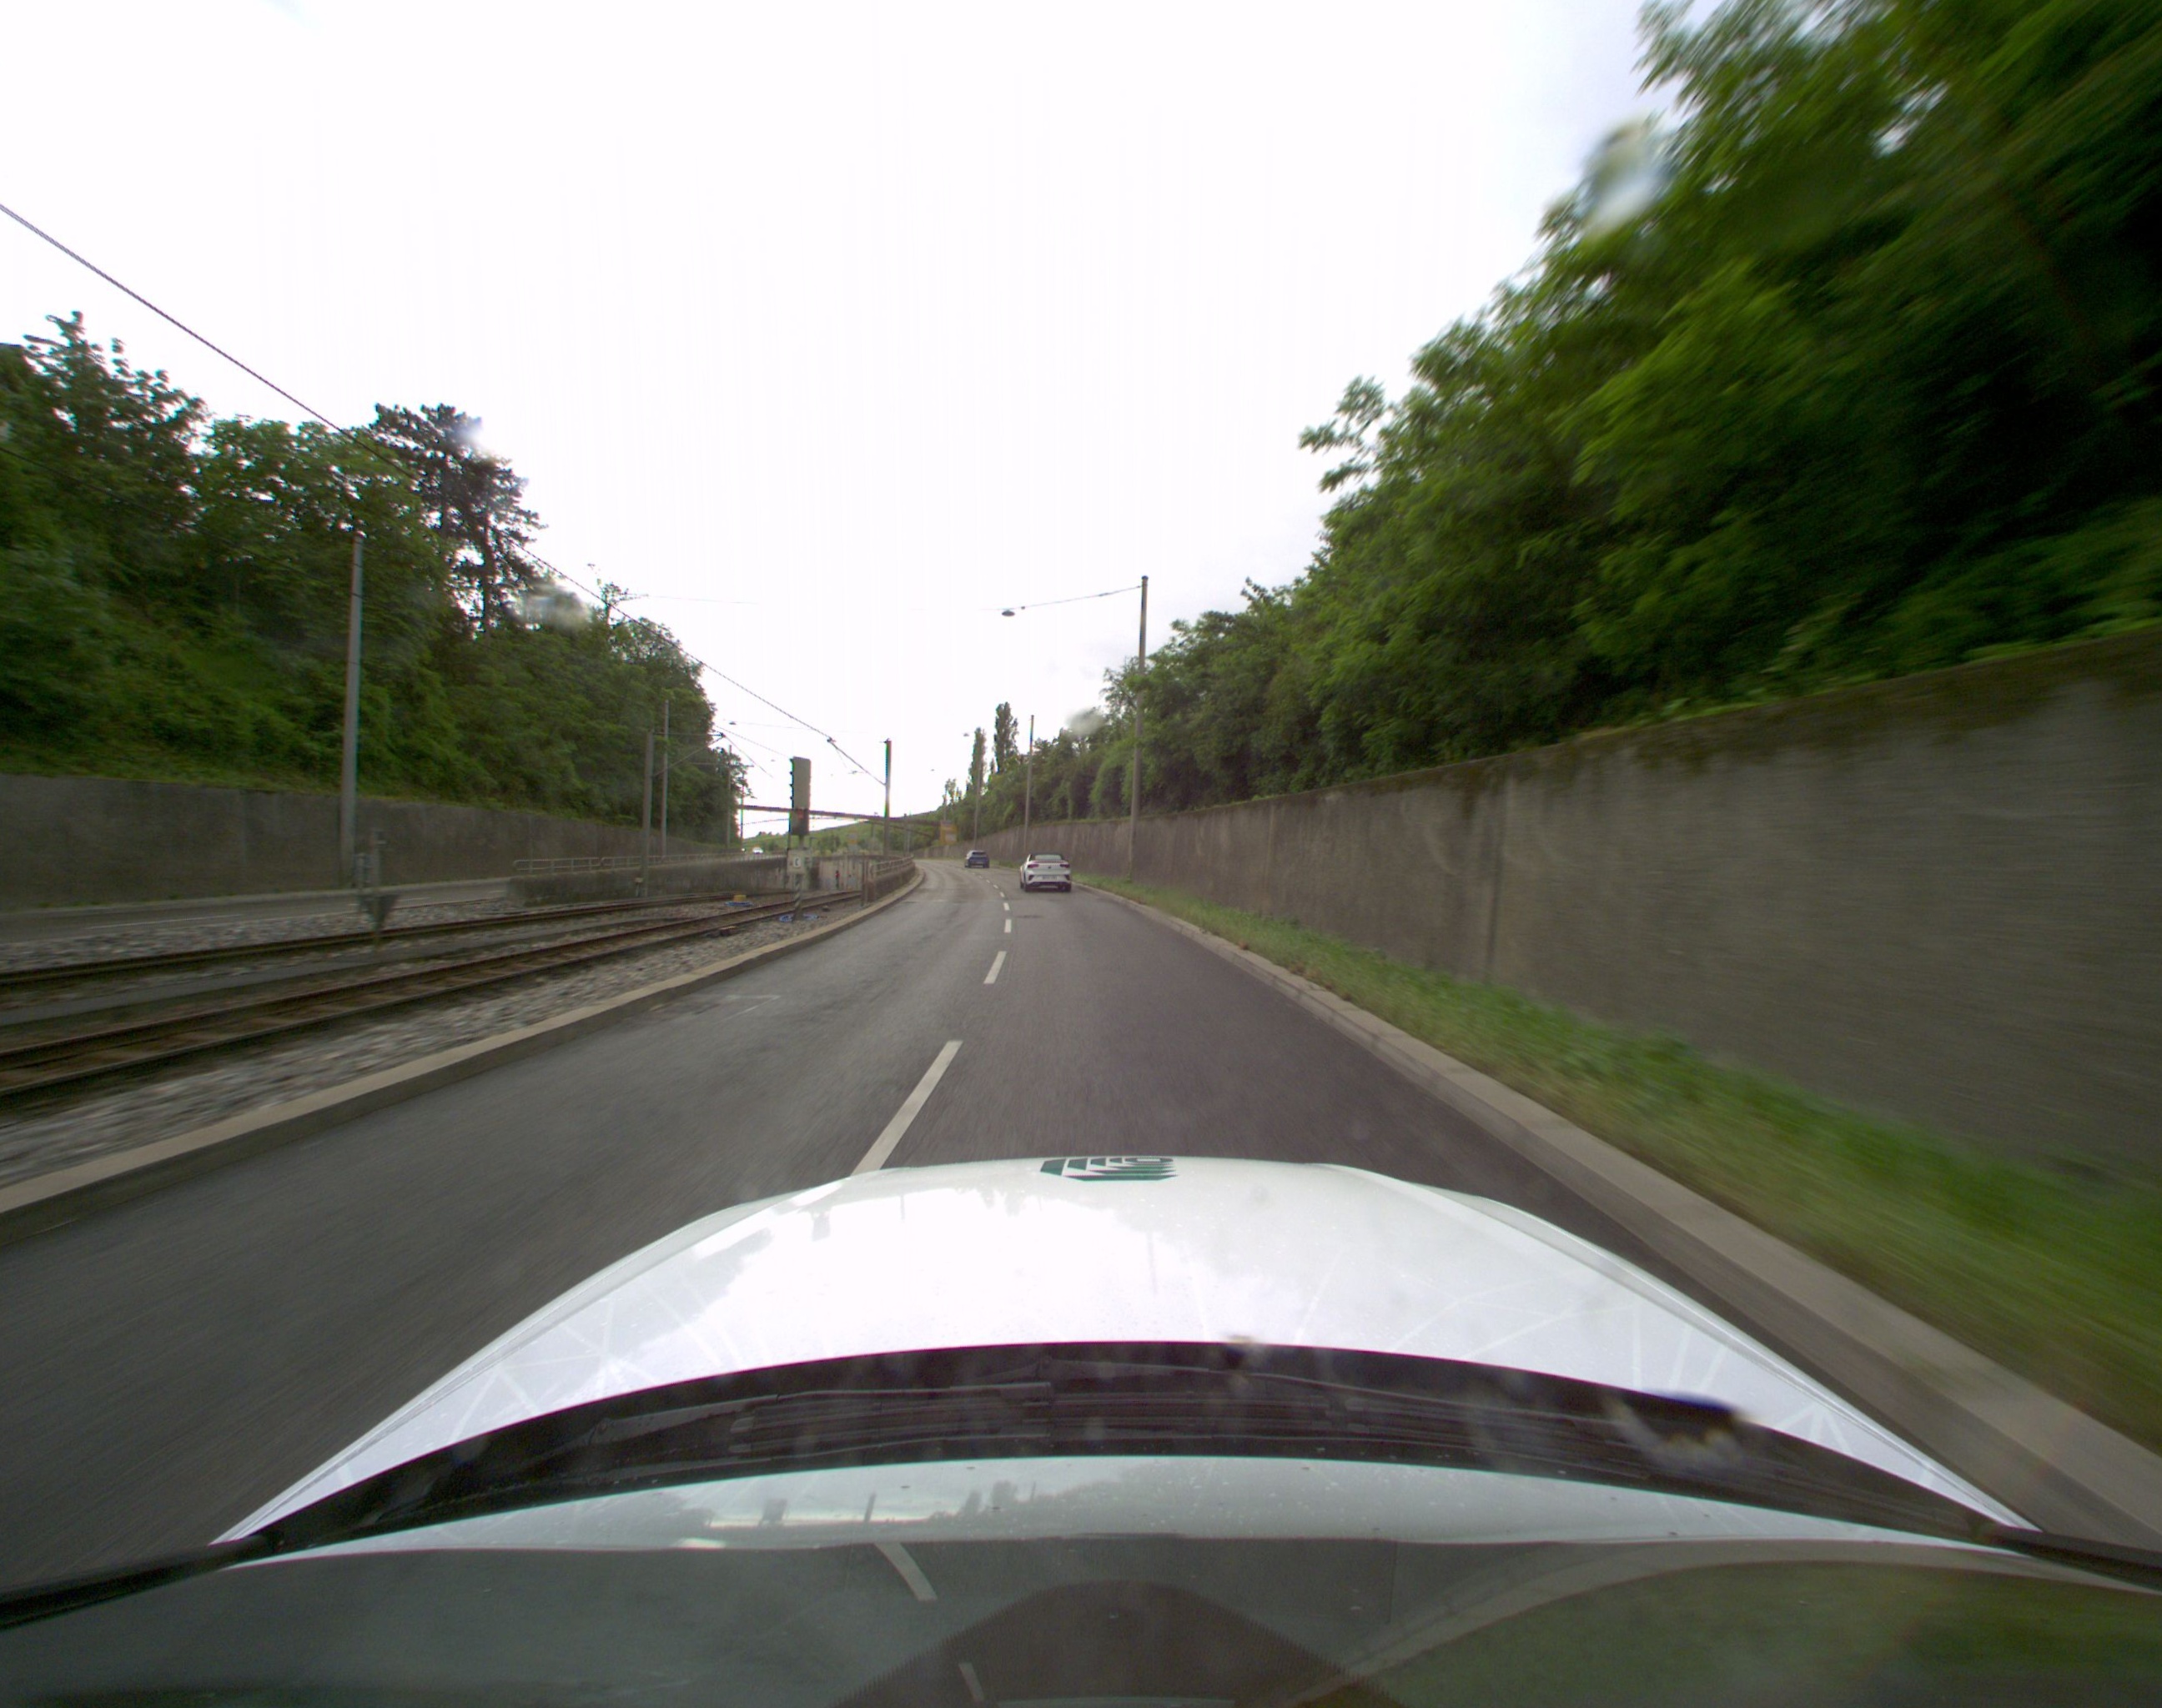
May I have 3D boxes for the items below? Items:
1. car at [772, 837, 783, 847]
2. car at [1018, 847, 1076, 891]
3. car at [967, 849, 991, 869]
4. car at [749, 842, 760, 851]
[{"bbox_3d":[-59.061,-2.346,158.438,1.969,1.750,4.110,0,0,-23],"label":"car"},{"bbox_3d":[-1.410,0.535,32.006,1.994,1.578,4.116,0,1,-7],"label":"car"},{"bbox_3d":[-8.563,0.362,68.040,1.926,1.599,4.049,0,1,-9],"label":"car"},{"bbox_3d":[-62.335,-1.430,155.369,1.824,1.704,4.082,0,0,-21],"label":"car"}]
